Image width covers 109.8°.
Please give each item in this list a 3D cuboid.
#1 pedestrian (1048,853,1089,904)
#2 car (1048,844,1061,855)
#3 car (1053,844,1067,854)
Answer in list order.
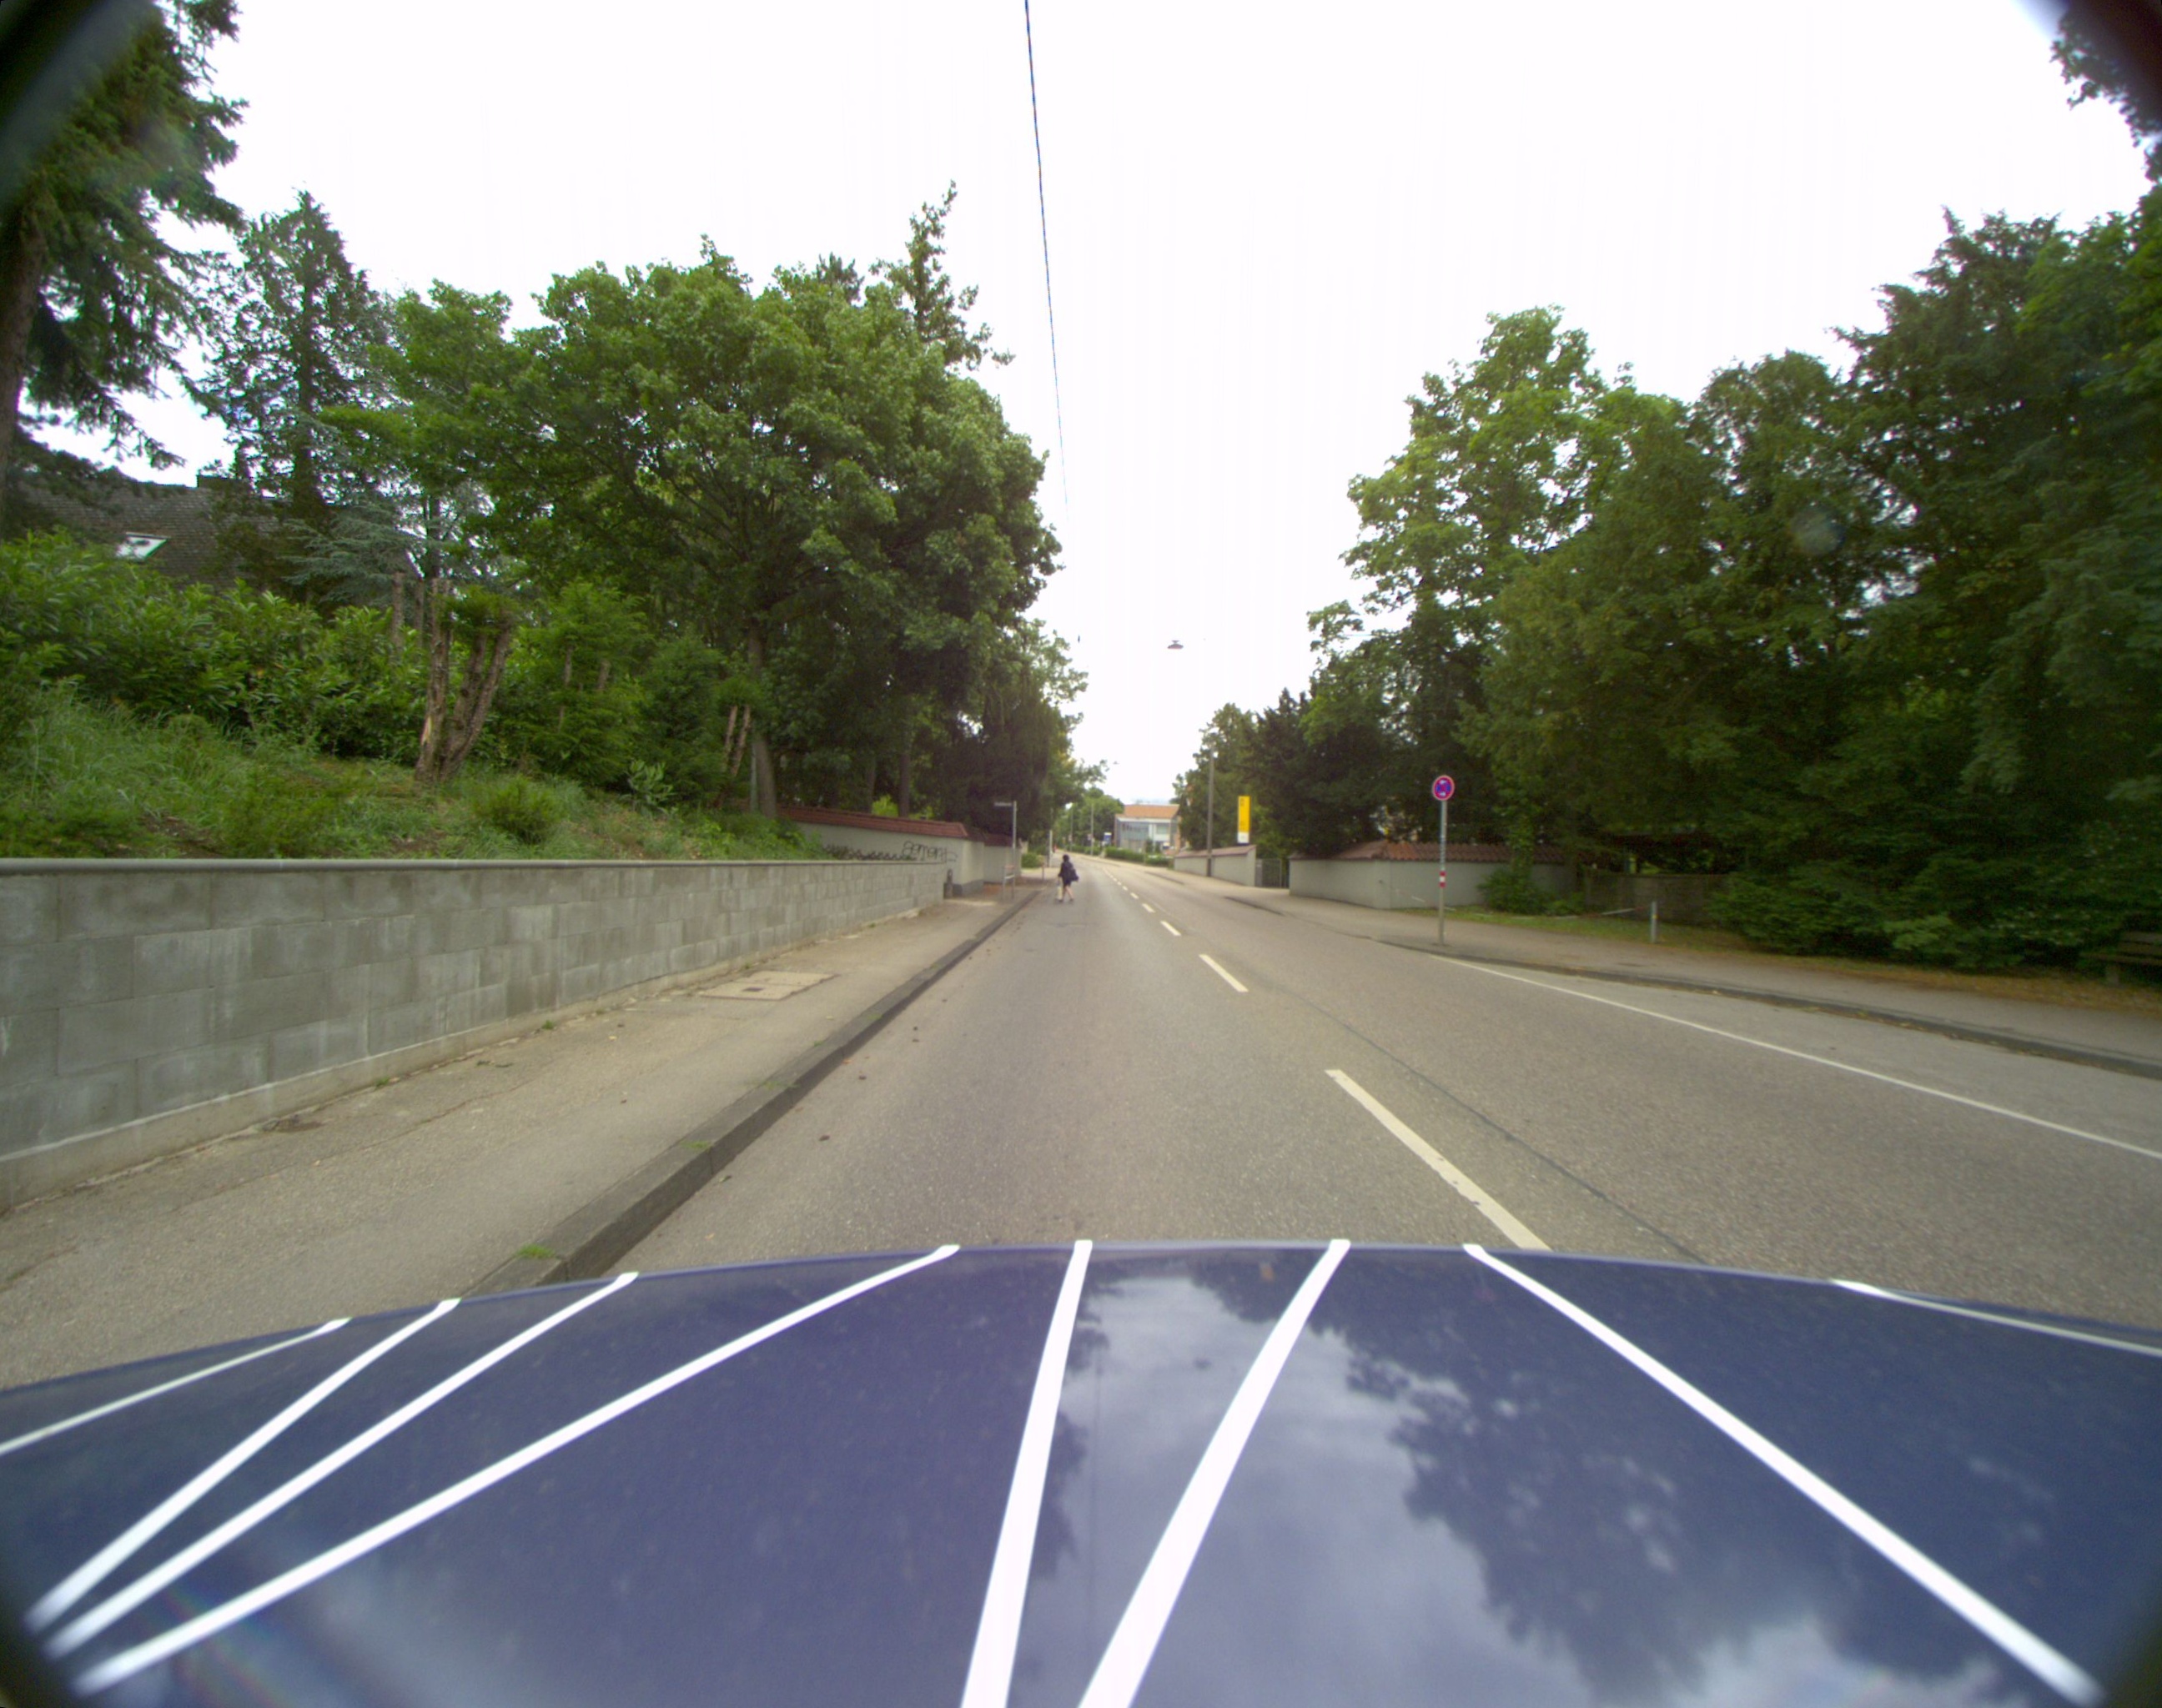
[{"bbox_3d":[-0.403,0.758,24.083,0.930,1.552,0.900,-2,2,-40],"label":"pedestrian"},{"bbox_3d":[-4.498,-0.733,129.053,1.886,1.893,4.000,0,0,1],"label":"car"},{"bbox_3d":[-4.431,-1.117,159.177,1.898,1.845,5.075,4,1,-15],"label":"car"}]
